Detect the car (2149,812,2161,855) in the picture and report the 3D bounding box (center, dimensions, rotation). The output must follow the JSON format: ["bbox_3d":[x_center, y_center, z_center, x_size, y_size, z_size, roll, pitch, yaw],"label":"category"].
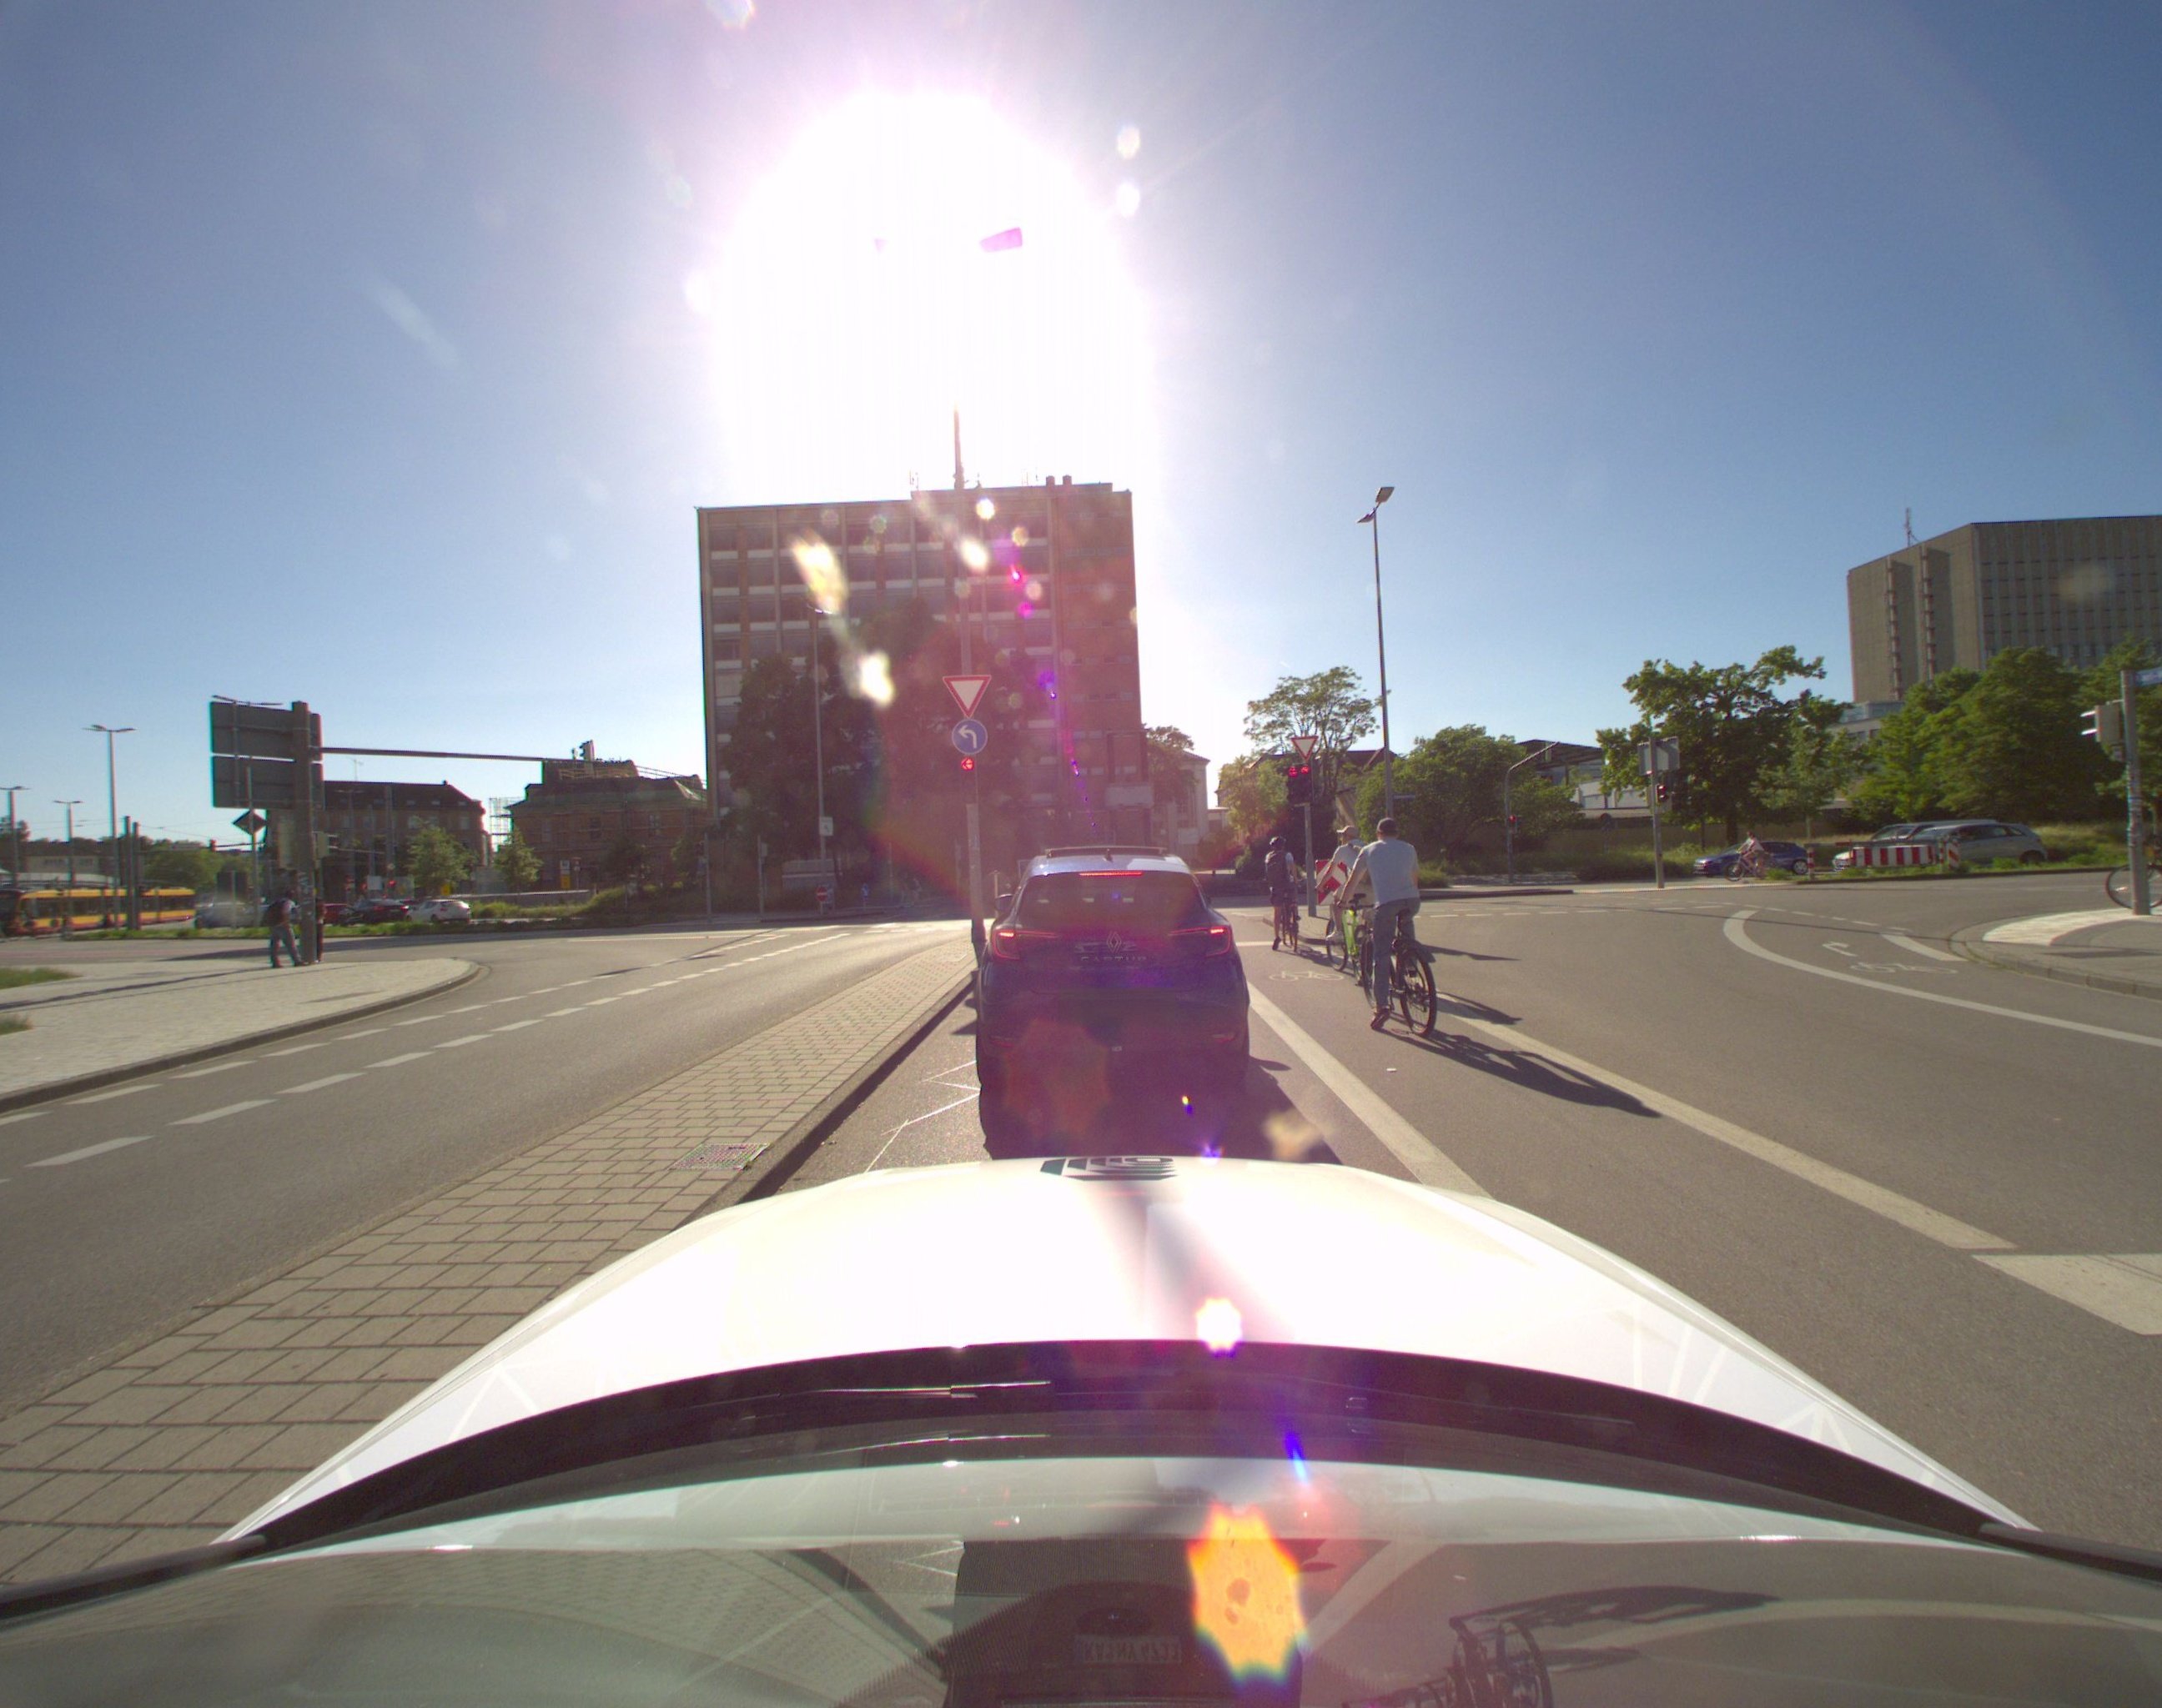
[{"bbox_3d":[36.895,-0.757,25.328,4.534,1.398,1.798,-3,-1,7],"label":"car"}]

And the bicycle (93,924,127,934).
[{"bbox_3d":[-64.453,4.980,54.061,0.429,0.549,1.419,-3,-1,42],"label":"bicycle"}]

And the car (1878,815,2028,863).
[{"bbox_3d":[35.864,-0.613,33.604,3.965,1.749,1.798,-2,-1,7],"label":"car"}]

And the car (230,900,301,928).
[{"bbox_3d":[-48.872,3.608,48.797,3.834,1.508,1.805,-3,-1,25],"label":"car"}]

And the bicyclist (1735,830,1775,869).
[{"bbox_3d":[24.029,-0.155,29.047,0.870,1.343,0.612,-2,-1,7],"label":"bicyclist"}]

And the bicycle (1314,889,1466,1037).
[{"bbox_3d":[2.720,0.903,7.410,0.687,1.089,1.923,-1,0,2],"label":"bicycle"}]

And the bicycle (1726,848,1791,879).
[{"bbox_3d":[24.133,0.327,29.032,1.673,1.033,0.612,-2,-1,7],"label":"bicycle"}]

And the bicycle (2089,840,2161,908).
[{"bbox_3d":[15.909,0.272,11.622,0.640,0.958,1.866,-2,-1,-39],"label":"bicycle"}]

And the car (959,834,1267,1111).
[{"bbox_3d":[0.192,0.708,6.761,1.783,1.585,3.913,-1,0,0],"label":"car"}]

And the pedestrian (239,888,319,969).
[{"bbox_3d":[-18.115,1.663,18.406,0.647,1.730,1.066,-3,-1,15],"label":"pedestrian"}]

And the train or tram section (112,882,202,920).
[{"bbox_3d":[-88.881,4.399,78.580,2.710,3.232,10.495,0,-1,-31],"label":"train or tram section"}]

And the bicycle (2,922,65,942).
[{"bbox_3d":[-66.839,4.970,51.998,0.800,1.062,2.434,-1,-1,36],"label":"bicycle"}]

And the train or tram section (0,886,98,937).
[{"bbox_3d":[-77.924,4.173,60.684,2.710,3.232,10.495,0,-1,-31],"label":"train or tram section"}]

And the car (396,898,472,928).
[{"bbox_3d":[-36.402,3.340,45.828,3.834,1.508,1.805,-3,-1,25],"label":"car"}]

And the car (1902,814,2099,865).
[{"bbox_3d":[29.214,-0.429,25.998,3.965,1.398,1.798,-3,-1,7],"label":"car"}]

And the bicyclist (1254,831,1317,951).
[{"bbox_3d":[3.211,0.564,12.849,0.697,1.791,1.142,-1,-1,2],"label":"bicyclist"}]

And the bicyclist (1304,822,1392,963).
[{"bbox_3d":[3.213,0.445,9.892,0.676,1.594,1.142,-1,-1,1],"label":"bicyclist"}]

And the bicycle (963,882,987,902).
[{"bbox_3d":[-5.735,2.048,44.166,0.751,0.985,2.098,-2,0,8],"label":"bicycle"}]

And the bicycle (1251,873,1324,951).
[{"bbox_3d":[3.218,0.869,12.862,0.687,1.089,1.923,-1,0,2],"label":"bicycle"}]

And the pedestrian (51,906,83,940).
[{"bbox_3d":[-63.239,4.288,50.793,0.716,2.013,1.048,-3,-1,23],"label":"pedestrian"}]

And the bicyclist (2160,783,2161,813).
[{"bbox_3d":[16.020,-0.222,11.469,0.635,1.646,0.903,-2,-1,-39],"label":"bicyclist"}]

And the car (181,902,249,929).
[{"bbox_3d":[-54.921,3.895,51.629,3.834,1.508,1.805,-3,-1,25],"label":"car"}]

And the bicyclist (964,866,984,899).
[{"bbox_3d":[-5.772,1.516,44.066,0.751,1.716,1.001,-2,-1,7],"label":"bicyclist"}]

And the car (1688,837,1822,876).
[{"bbox_3d":[28.128,0.111,34.103,3.965,1.398,1.798,-3,-1,7],"label":"car"}]

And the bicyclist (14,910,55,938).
[{"bbox_3d":[-66.841,4.442,52.026,0.800,1.634,1.586,-1,-1,36],"label":"bicyclist"}]

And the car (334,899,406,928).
[{"bbox_3d":[-42.558,3.567,48.733,3.834,1.508,1.805,-3,-1,25],"label":"car"}]

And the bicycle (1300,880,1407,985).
[{"bbox_3d":[3.238,0.892,9.881,0.687,1.089,1.923,-1,0,2],"label":"bicycle"}]

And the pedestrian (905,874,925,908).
[{"bbox_3d":[-8.575,1.905,42.156,0.675,1.730,0.764,-3,-1,15],"label":"pedestrian"}]

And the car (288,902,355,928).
[{"bbox_3d":[-48.215,3.874,51.702,3.834,1.508,1.805,-3,-1,25],"label":"car"}]

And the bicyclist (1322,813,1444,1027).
[{"bbox_3d":[2.715,0.560,7.449,0.680,1.791,1.142,-1,-1,2],"label":"bicyclist"}]

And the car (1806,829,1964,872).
[{"bbox_3d":[30.289,-0.131,30.789,3.965,1.398,1.798,-3,-1,7],"label":"car"}]

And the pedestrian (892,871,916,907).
[{"bbox_3d":[-9.271,1.832,42.720,0.807,1.862,0.913,-3,-1,15],"label":"pedestrian"}]

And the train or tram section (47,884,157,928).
[{"bbox_3d":[-83.406,4.286,69.662,2.710,3.232,10.495,0,-1,-31],"label":"train or tram section"}]

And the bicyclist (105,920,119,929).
[{"bbox_3d":[-64.406,4.709,54.139,0.425,0.549,0.575,-3,-1,42],"label":"bicyclist"}]
